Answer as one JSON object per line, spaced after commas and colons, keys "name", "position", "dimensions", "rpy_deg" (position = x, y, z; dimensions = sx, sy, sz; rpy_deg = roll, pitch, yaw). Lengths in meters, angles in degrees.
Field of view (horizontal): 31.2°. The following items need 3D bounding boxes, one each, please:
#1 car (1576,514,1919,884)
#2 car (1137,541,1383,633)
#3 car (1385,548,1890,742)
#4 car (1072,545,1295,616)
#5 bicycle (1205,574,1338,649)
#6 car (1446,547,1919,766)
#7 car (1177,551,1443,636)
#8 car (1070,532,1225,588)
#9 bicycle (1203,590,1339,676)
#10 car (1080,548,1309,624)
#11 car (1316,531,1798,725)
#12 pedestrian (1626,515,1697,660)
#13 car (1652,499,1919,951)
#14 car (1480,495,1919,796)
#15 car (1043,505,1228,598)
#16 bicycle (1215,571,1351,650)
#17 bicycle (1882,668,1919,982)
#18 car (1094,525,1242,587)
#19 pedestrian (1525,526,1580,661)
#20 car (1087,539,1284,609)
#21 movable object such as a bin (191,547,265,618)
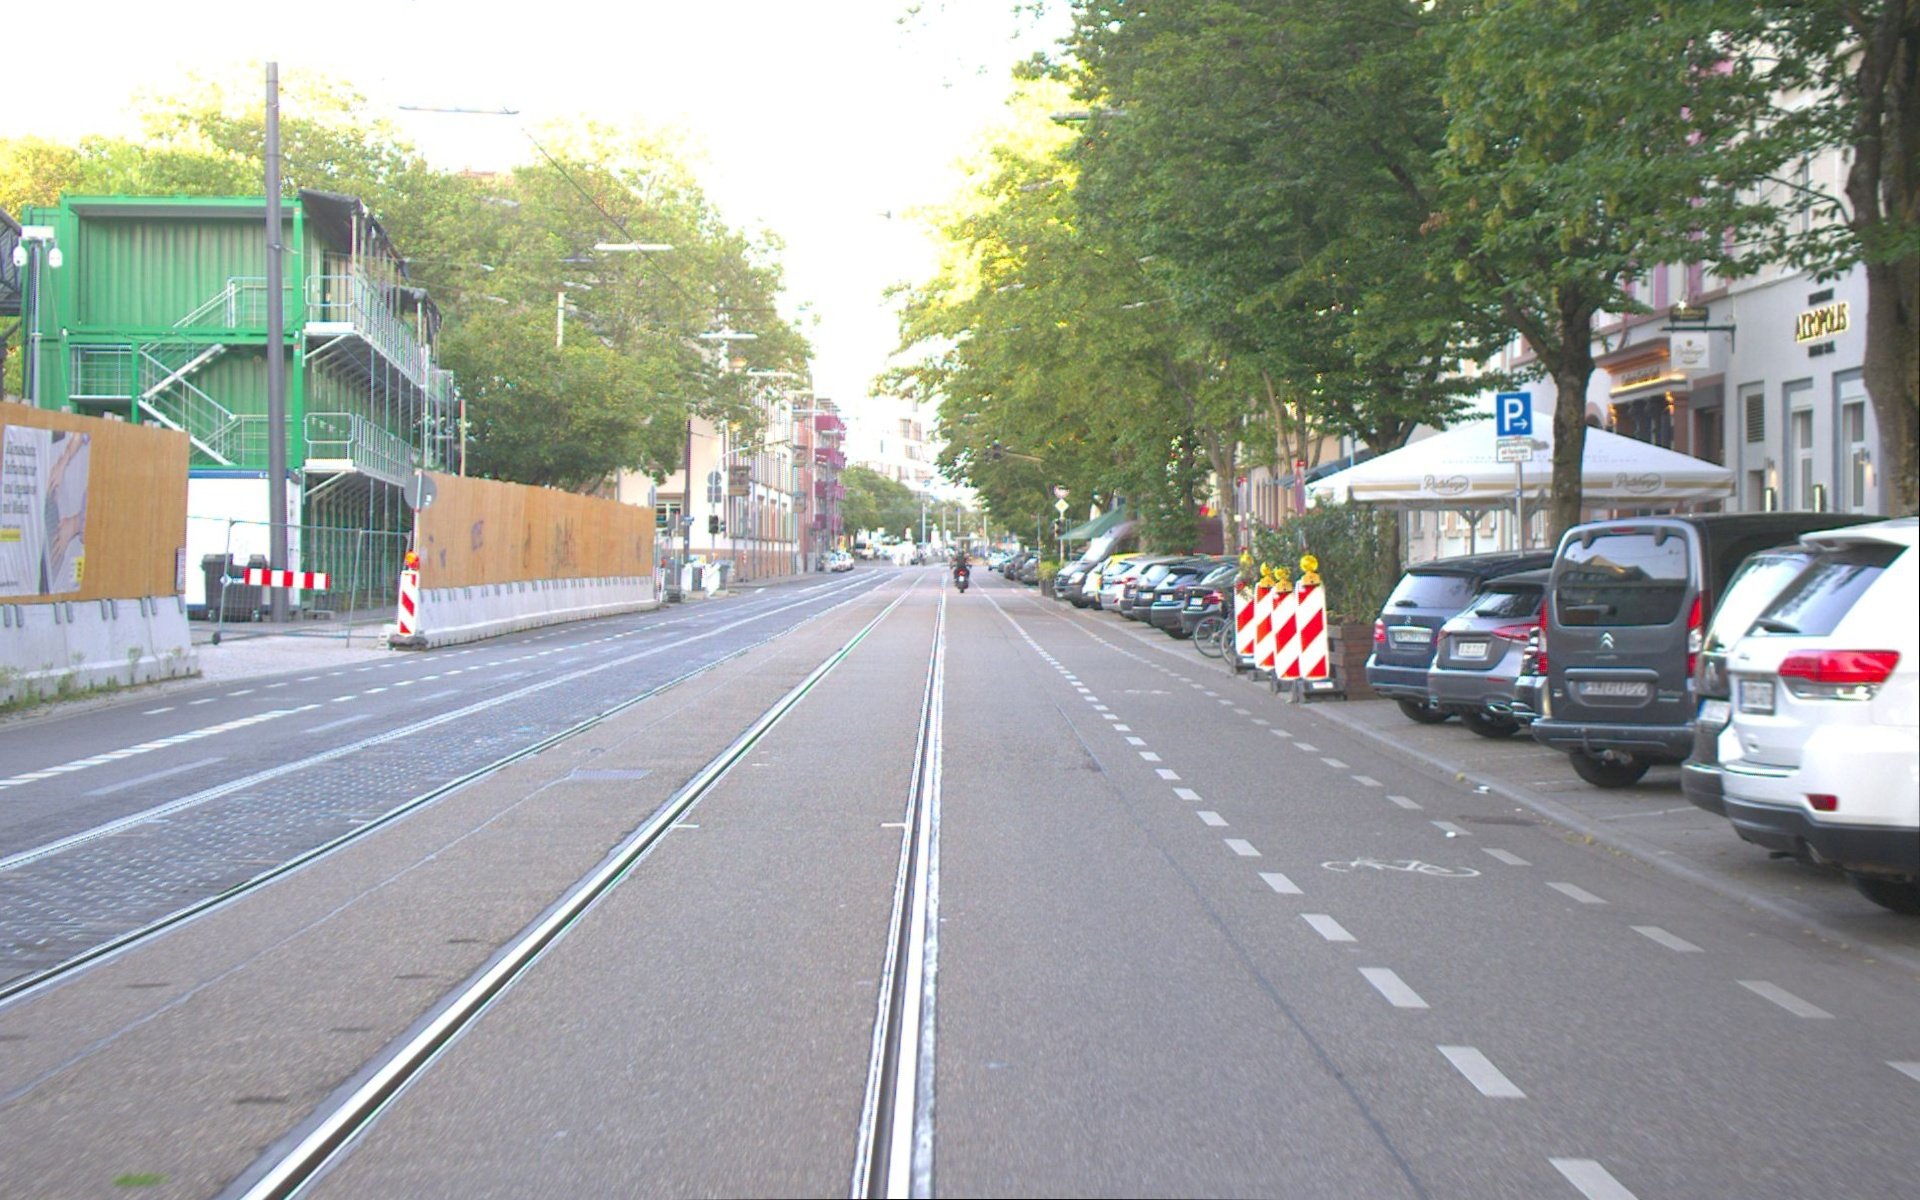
{"name": "car", "position": [5.698, 0.379, 17.421], "dimensions": [4.648, 1.682, 2.008], "rpy_deg": [-3, 1, -5]}
{"name": "car", "position": [5.577, -0.254, 63.941], "dimensions": [4.115, 1.465, 1.824], "rpy_deg": [-3, 1, -17]}
{"name": "car", "position": [5.593, 0.341, 28.358], "dimensions": [3.772, 1.403, 1.706], "rpy_deg": [-2, 1, -25]}
{"name": "car", "position": [4.761, -0.429, 73.272], "dimensions": [4.249, 1.387, 2.016], "rpy_deg": [-2, 1, -23]}
{"name": "bicycle", "position": [4.723, 0.178, 52.163], "dimensions": [1.903, 1.028, 0.533], "rpy_deg": [-3, 1, -2]}
{"name": "car", "position": [6.007, 0.375, 25.925], "dimensions": [4.309, 1.384, 1.807], "rpy_deg": [-3, 1, -25]}
{"name": "car", "position": [5.994, -0.132, 59.009], "dimensions": [4.160, 1.422, 1.824], "rpy_deg": [0, 1, -19]}
{"name": "car", "position": [5.385, -1.141, 98.857], "dimensions": [3.949, 1.481, 1.921], "rpy_deg": [-2, 0, -24]}
{"name": "bicycle", "position": [4.091, 0.432, 45.241], "dimensions": [1.678, 1.028, 0.557], "rpy_deg": [-3, 1, -1]}
{"name": "car", "position": [4.698, -0.297, 68.876], "dimensions": [4.115, 1.465, 2.016], "rpy_deg": [0, 1, -24]}
{"name": "car", "position": [5.363, 0.220, 30.851], "dimensions": [3.961, 1.548, 1.706], "rpy_deg": [-2, 1, -25]}
{"name": "pedestrian", "position": [8.587, -0.157, 42.109], "dimensions": [0.550, 1.757, 0.853], "rpy_deg": [0, 1, -12]}
{"name": "car", "position": [5.396, 0.372, 14.063], "dimensions": [4.648, 1.682, 2.008], "rpy_deg": [-2, 1, -1]}
{"name": "car", "position": [5.774, 0.226, 22.893], "dimensions": [4.147, 1.800, 2.008], "rpy_deg": [-2, 1, -28]}
{"name": "car", "position": [5.289, -1.469, 103.570], "dimensions": [5.093, 2.633, 2.022], "rpy_deg": [-2, 0, -16]}
{"name": "bicycle", "position": [4.769, 0.148, 50.882], "dimensions": [1.886, 1.064, 0.674], "rpy_deg": [-3, 1, -2]}
{"name": "bicycle", "position": [4.281, 0.755, 12.311], "dimensions": [1.835, 1.099, 0.498], "rpy_deg": [-3, 2, -13]}
{"name": "car", "position": [5.725, -1.209, 95.026], "dimensions": [3.950, 1.614, 1.921], "rpy_deg": [-2, 0, 1]}
{"name": "pedestrian", "position": [7.852, -0.092, 45.563], "dimensions": [0.551, 1.757, 0.894], "rpy_deg": [1, 1, 0]}
{"name": "car", "position": [5.329, -0.616, 81.580], "dimensions": [4.249, 1.543, 2.020], "rpy_deg": [-2, 1, -10]}
{"name": "movable object such as a bin", "position": [-14.333, -0.345, 67.361], "dimensions": [1.306, 1.365, 0.784], "rpy_deg": [0, 1, -3]}
